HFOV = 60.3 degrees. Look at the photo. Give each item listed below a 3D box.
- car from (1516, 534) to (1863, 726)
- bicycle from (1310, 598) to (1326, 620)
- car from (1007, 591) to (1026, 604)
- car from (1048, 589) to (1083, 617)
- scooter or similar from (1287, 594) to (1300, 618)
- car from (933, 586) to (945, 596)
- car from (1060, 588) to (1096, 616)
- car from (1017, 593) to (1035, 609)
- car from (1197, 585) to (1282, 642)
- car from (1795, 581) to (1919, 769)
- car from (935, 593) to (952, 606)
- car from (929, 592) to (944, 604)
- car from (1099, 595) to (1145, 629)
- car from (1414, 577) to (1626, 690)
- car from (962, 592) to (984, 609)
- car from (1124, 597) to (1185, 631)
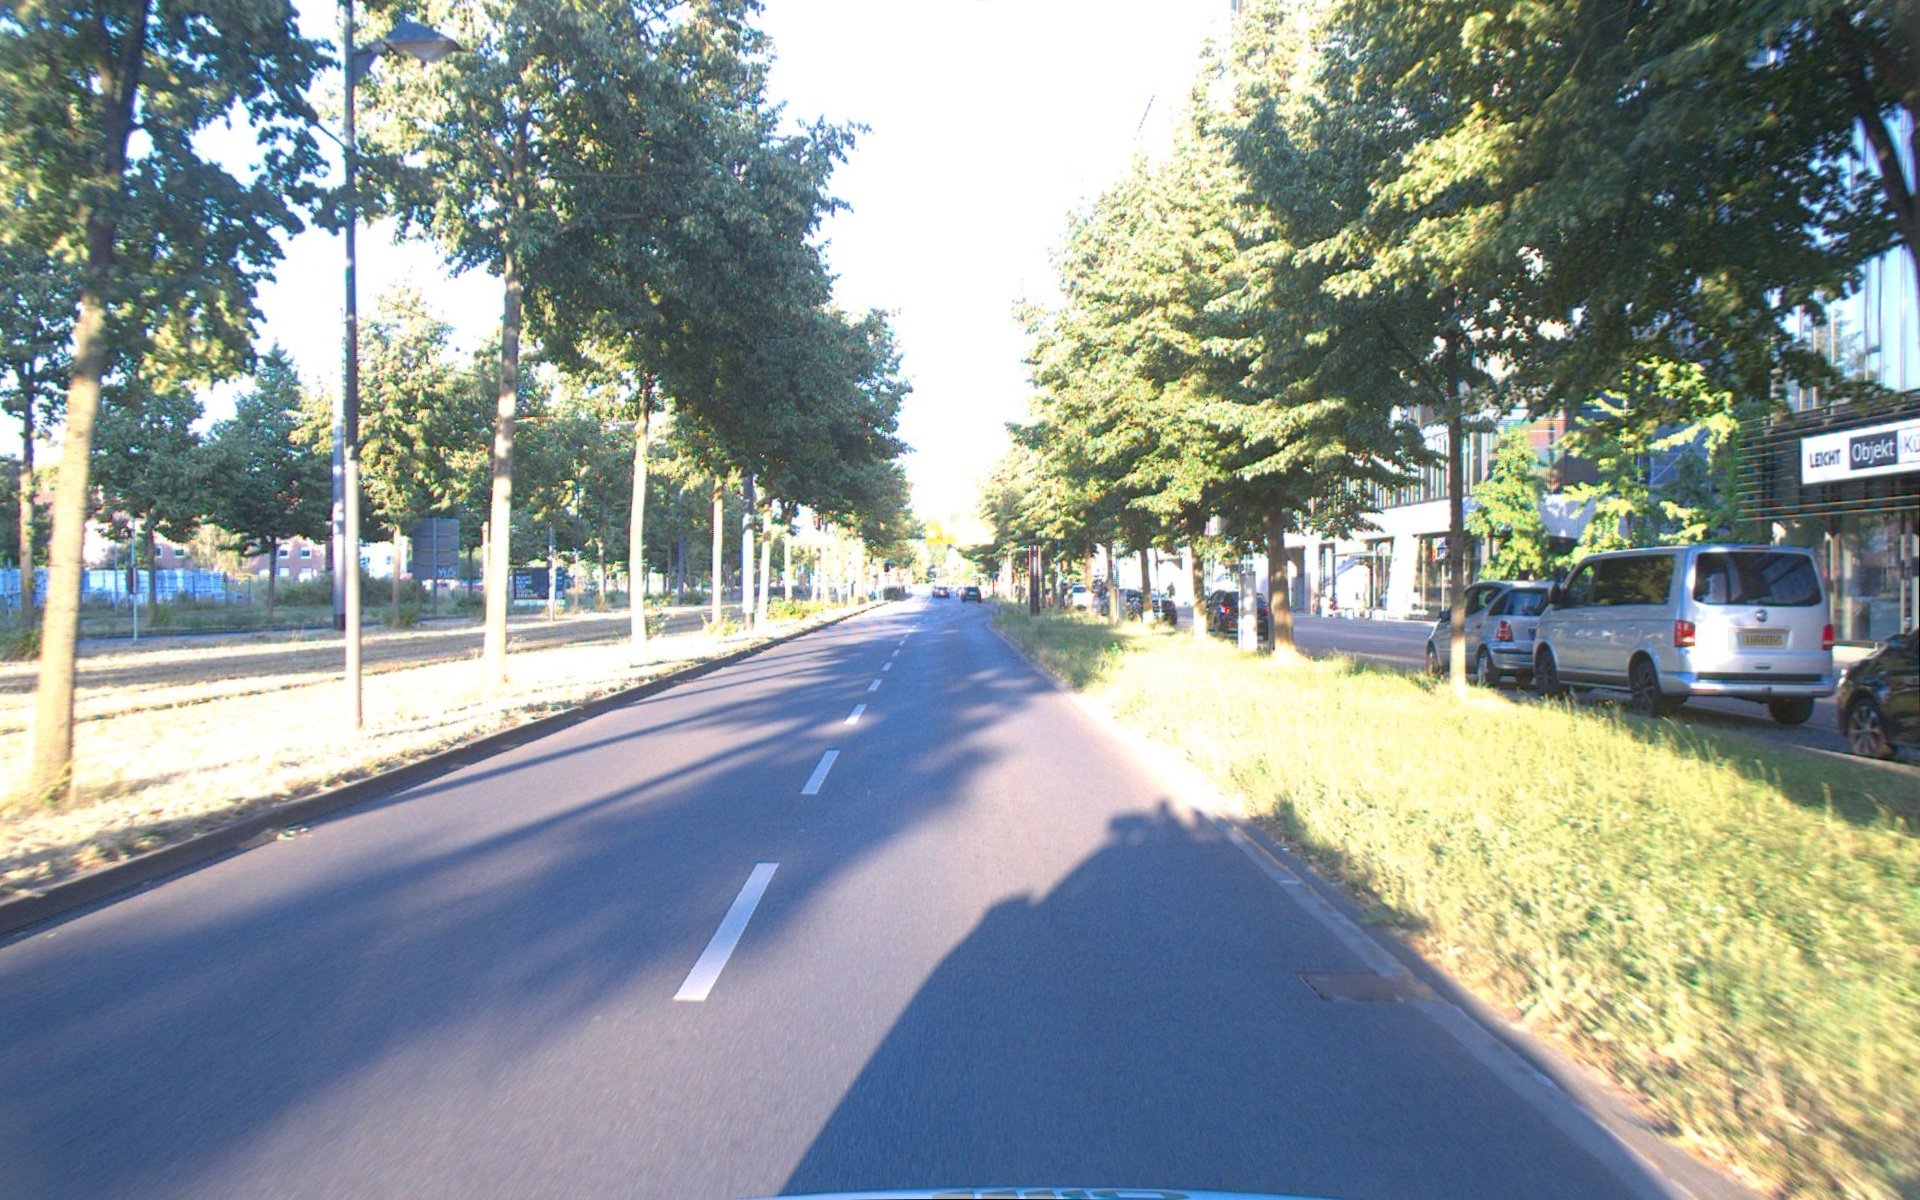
[{"bbox_3d":[8.634,0.313,20.164,1.946,2.024,4.931,1,0,-1],"label":"car"},{"bbox_3d":[17.494,0.427,80.756,0.444,1.045,1.392,0,0,25],"label":"bicycle"},{"bbox_3d":[6.301,-0.301,185.213,1.722,1.491,4.156,0,0,-3],"label":"car"},{"bbox_3d":[7.476,0.204,117.401,1.954,1.884,4.663,0,0,-3],"label":"car"},{"bbox_3d":[17.440,0.319,86.474,0.462,1.232,1.229,0,0,0],"label":"scooter or similar"},{"bbox_3d":[-3.176,-1.370,251.250,1.873,1.512,3.999,0,0,-2],"label":"car"},{"bbox_3d":[7.432,0.120,104.840,1.953,1.671,4.878,0,0,0],"label":"car"},{"bbox_3d":[6.490,0.104,162.977,1.543,1.498,3.881,0,0,0],"label":"car"},{"bbox_3d":[8.293,0.372,49.297,1.744,1.520,3.999,3,0,-1],"label":"car"},{"bbox_3d":[8.692,0.638,13.219,1.821,1.522,4.290,2,0,0],"label":"car"},{"bbox_3d":[-1.960,-0.036,194.888,1.873,1.512,3.999,0,0,-2],"label":"car"},{"bbox_3d":[-3.027,-0.308,208.825,1.873,1.512,3.999,0,0,-2],"label":"car"},{"bbox_3d":[7.771,0.558,79.635,1.675,1.542,3.758,2,0,-2],"label":"car"},{"bbox_3d":[8.567,0.471,25.695,1.801,1.598,4.060,1,0,-2],"label":"car"},{"bbox_3d":[1.203,0.037,156.067,1.873,1.512,3.999,0,0,-2],"label":"car"},{"bbox_3d":[8.200,0.565,70.107,1.815,1.391,4.832,0,0,-3],"label":"car"}]
